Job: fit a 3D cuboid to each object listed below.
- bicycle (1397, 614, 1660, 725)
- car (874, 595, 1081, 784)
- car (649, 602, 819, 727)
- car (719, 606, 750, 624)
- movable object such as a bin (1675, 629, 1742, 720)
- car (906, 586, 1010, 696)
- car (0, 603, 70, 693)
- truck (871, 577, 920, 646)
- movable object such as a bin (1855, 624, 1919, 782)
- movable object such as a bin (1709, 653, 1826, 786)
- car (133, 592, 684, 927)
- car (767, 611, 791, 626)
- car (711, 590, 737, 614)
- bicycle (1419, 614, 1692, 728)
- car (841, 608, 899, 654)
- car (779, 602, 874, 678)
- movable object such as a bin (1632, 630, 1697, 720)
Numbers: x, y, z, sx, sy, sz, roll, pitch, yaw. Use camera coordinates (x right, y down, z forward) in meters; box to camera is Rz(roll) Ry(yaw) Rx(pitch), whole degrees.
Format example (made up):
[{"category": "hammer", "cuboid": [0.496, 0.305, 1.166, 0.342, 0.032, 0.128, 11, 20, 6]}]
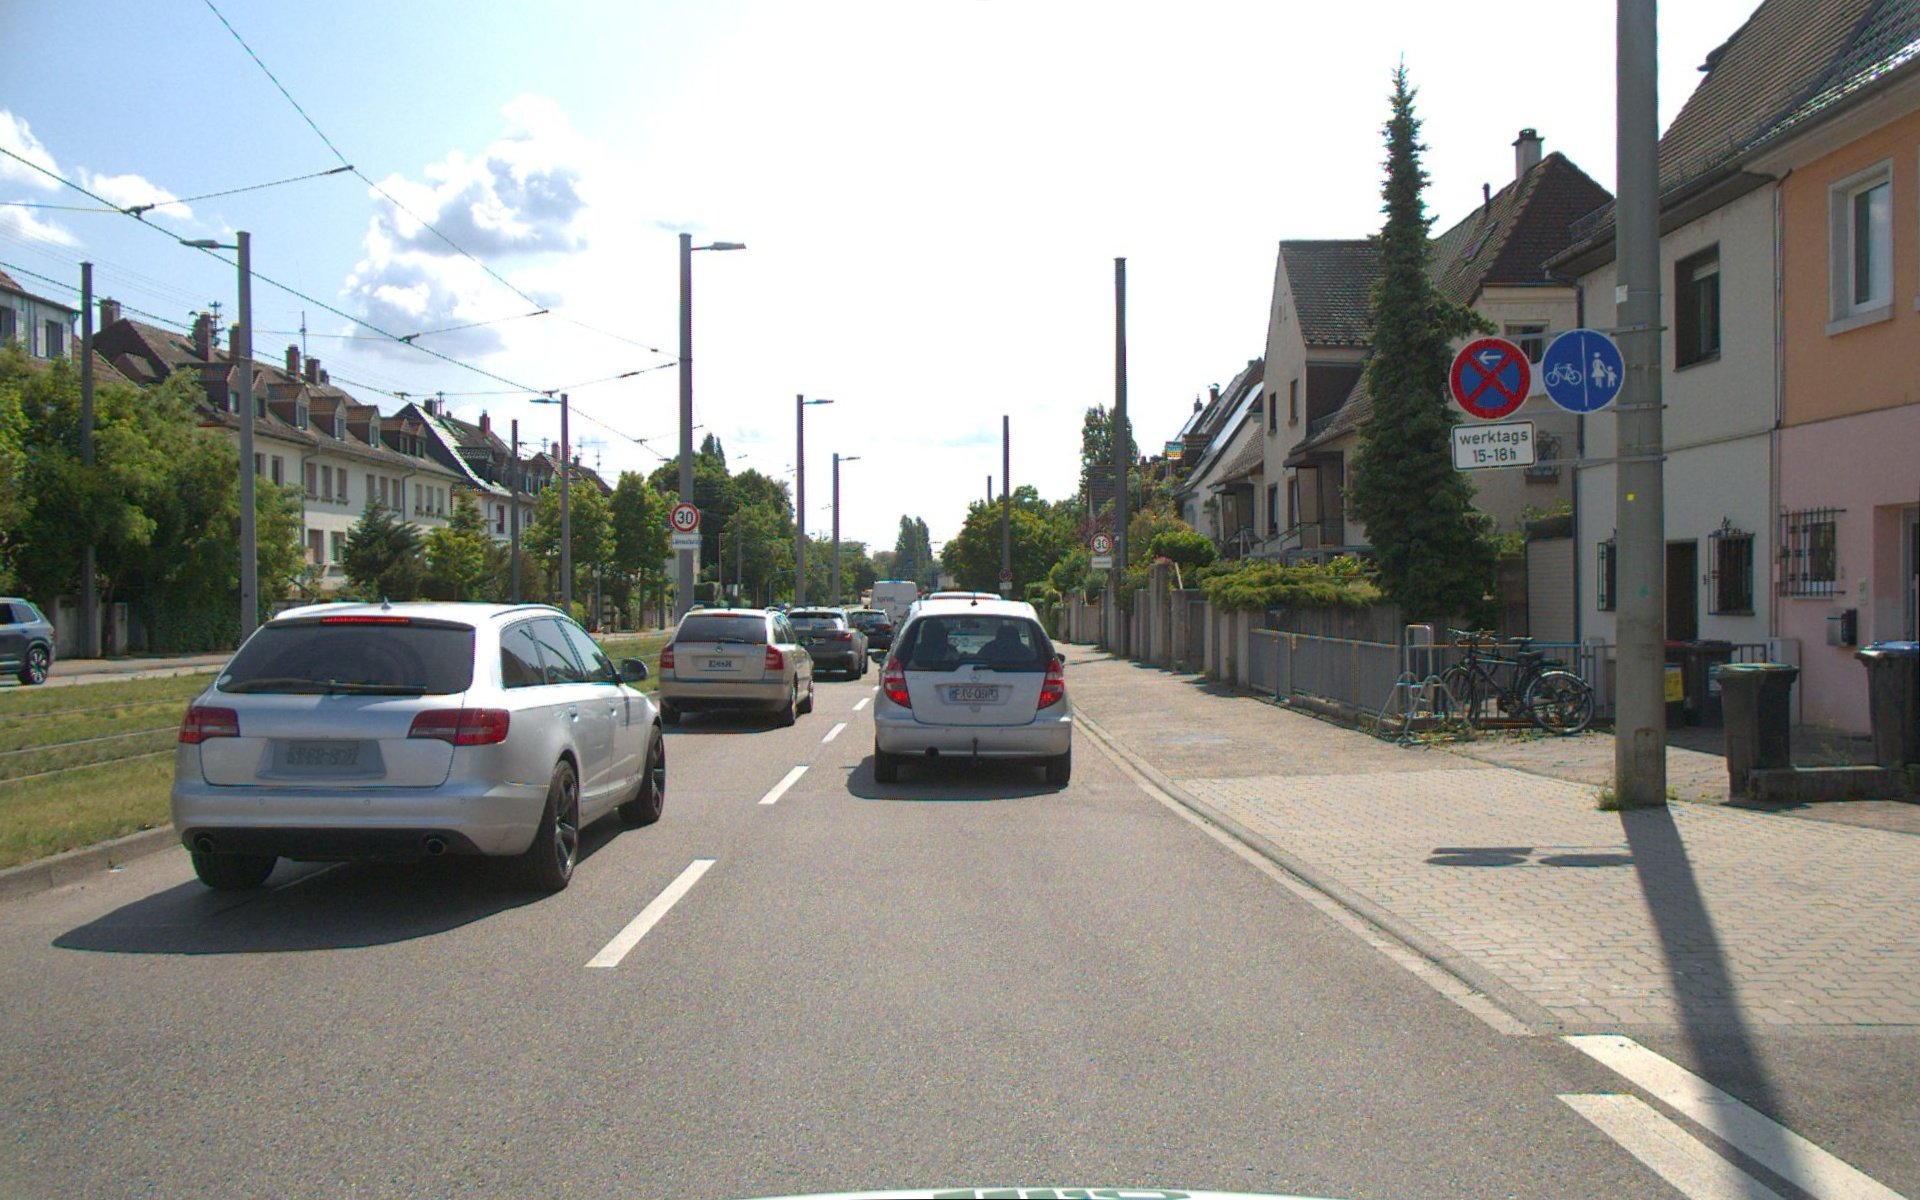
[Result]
[{"category": "bicycle", "cuboid": [6.298, 0.756, 18.392, 2.670, 1.139, 0.691, -1, -1, -1]}, {"category": "car", "cuboid": [0.084, 0.757, 15.777, 1.695, 1.543, 4.015, 1, 0, -2]}, {"category": "car", "cuboid": [-2.905, 0.789, 22.081, 1.696, 1.474, 4.122, 1, 0, 0]}, {"category": "car", "cuboid": [-19.160, 1.256, 140.505, 1.877, 1.503, 4.563, 1, 0, 1]}, {"category": "movable object such as a bin", "cuboid": [8.198, 0.807, 18.127, 0.458, 0.963, 0.558, -1, -1, -1]}, {"category": "car", "cuboid": [-0.034, 0.685, 29.483, 1.694, 1.793, 4.016, 1, 0, 0]}, {"category": "car", "cuboid": [-19.661, 0.957, 32.275, 1.974, 1.741, 4.935, -1, 0, -1]}, {"category": "truck", "cuboid": [-2.582, 0.456, 66.250, 1.815, 2.597, 5.852, 1, 0, -2]}, {"category": "movable object such as a bin", "cuboid": [7.156, 0.747, 12.331, 0.501, 1.124, 0.855, 0, -1, 0]}, {"category": "movable object such as a bin", "cuboid": [5.947, 0.867, 12.202, 0.501, 0.934, 0.741, 0, -1, 0]}, {"category": "car", "cuboid": [-2.876, 0.711, 9.816, 1.758, 1.497, 4.721, 1, 0, -1]}, {"category": "car", "cuboid": [-19.122, 1.926, 175.001, 1.877, 1.503, 4.563, 1, 0, 1]}, {"category": "car", "cuboid": [-24.780, 0.224, 173.774, 1.877, 2.371, 4.563, 1, 0, 1]}, {"category": "bicycle", "cuboid": [6.330, 0.746, 17.664, 2.607, 1.124, 0.786, -1, 0, -1]}, {"category": "car", "cuboid": [-2.913, 0.989, 54.374, 1.815, 1.413, 4.512, 1, 0, -2]}, {"category": "car", "cuboid": [-2.821, 0.809, 35.887, 1.878, 1.503, 4.559, 1, 0, -3]}, {"category": "movable object such as a bin", "cuboid": [7.717, 0.816, 18.126, 0.458, 0.963, 0.558, 0, -1, -1]}]
